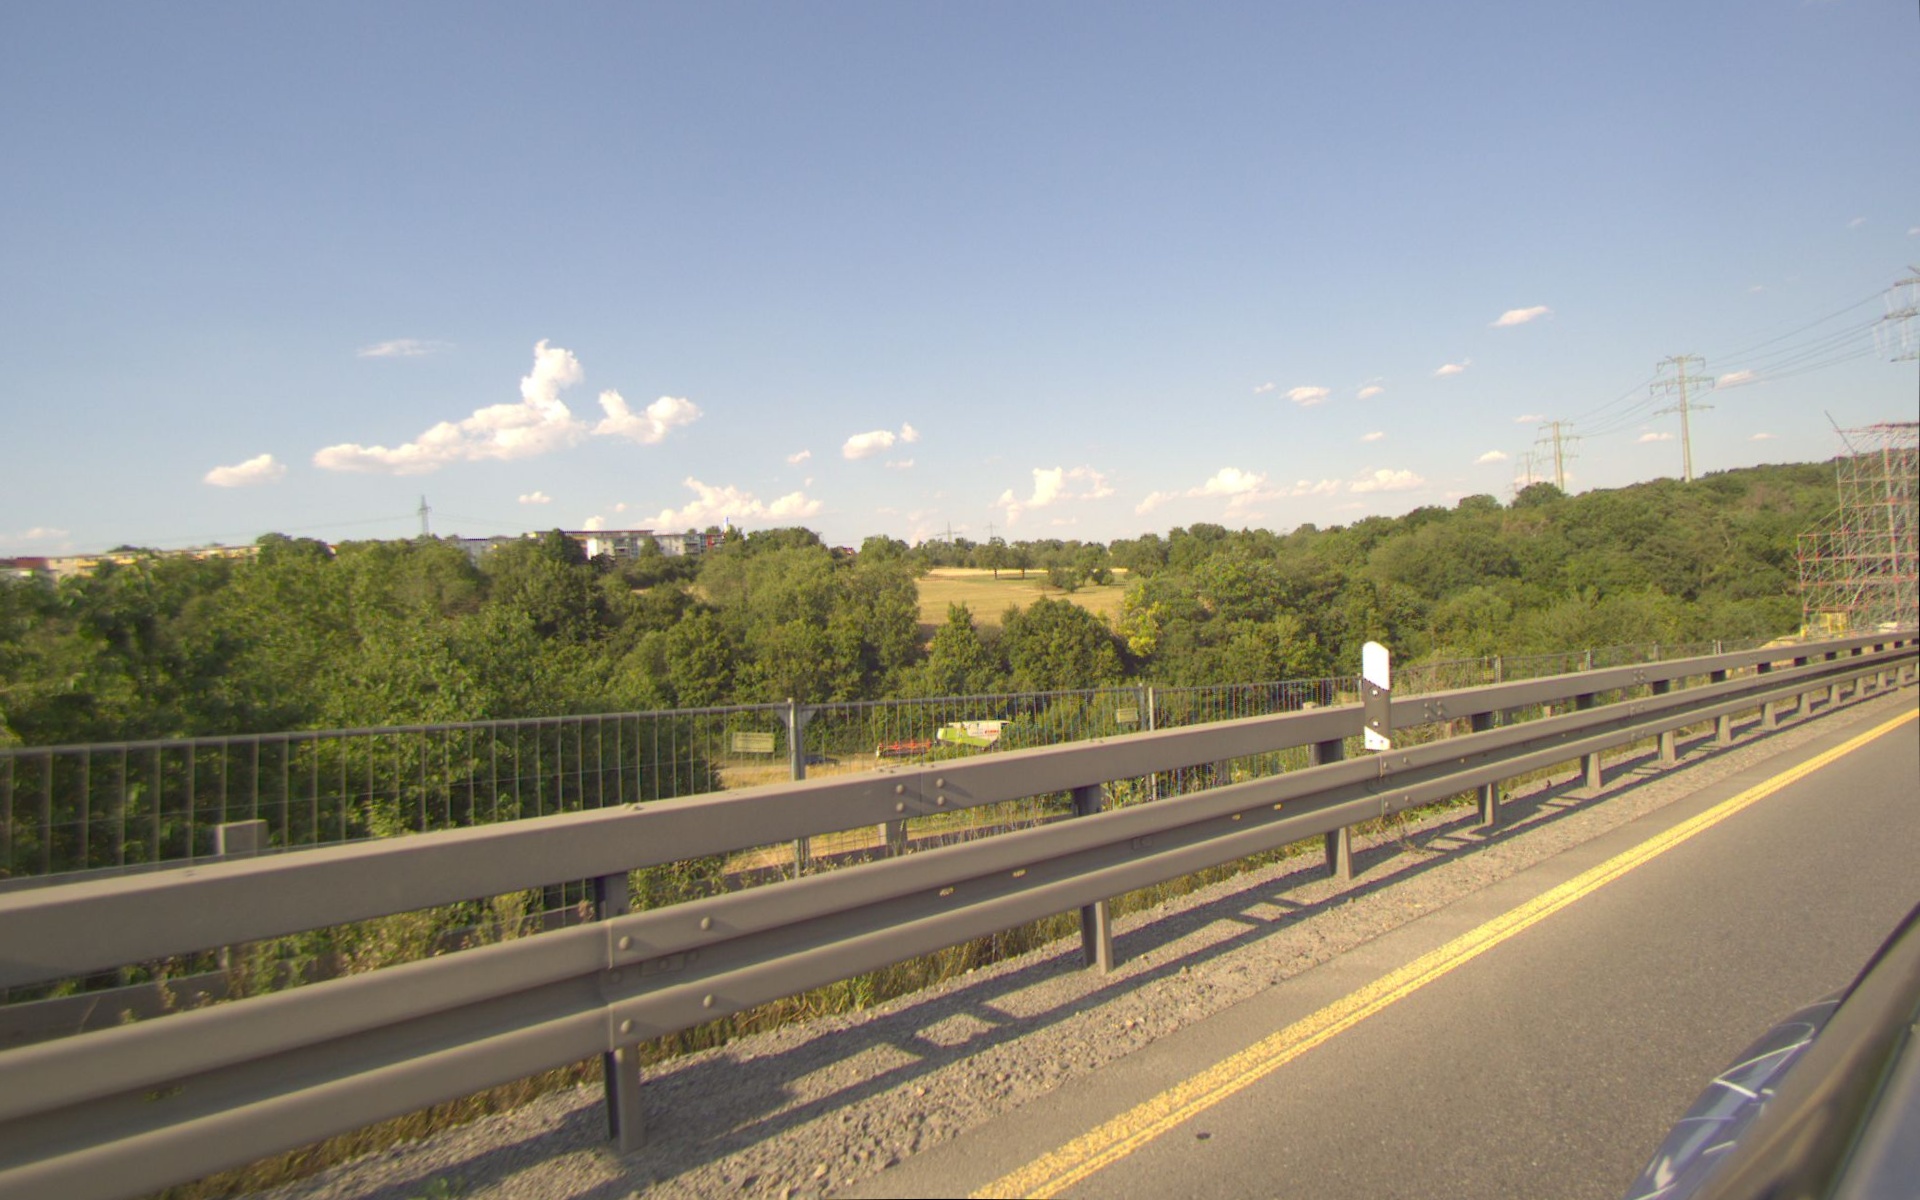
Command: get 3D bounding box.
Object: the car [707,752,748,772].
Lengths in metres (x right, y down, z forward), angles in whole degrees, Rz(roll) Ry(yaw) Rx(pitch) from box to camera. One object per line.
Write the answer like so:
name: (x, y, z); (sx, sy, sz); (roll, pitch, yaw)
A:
car: (-23.924, 16.670, 104.264); (4.019, 1.573, 1.686); (0, 1, -16)

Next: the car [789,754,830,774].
car: (-15.351, 16.680, 103.003); (4.020, 1.573, 1.686); (0, 1, -11)

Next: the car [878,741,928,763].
car: (-5.947, 15.856, 105.840); (5.024, 1.858, 1.711); (0, 1, -11)
